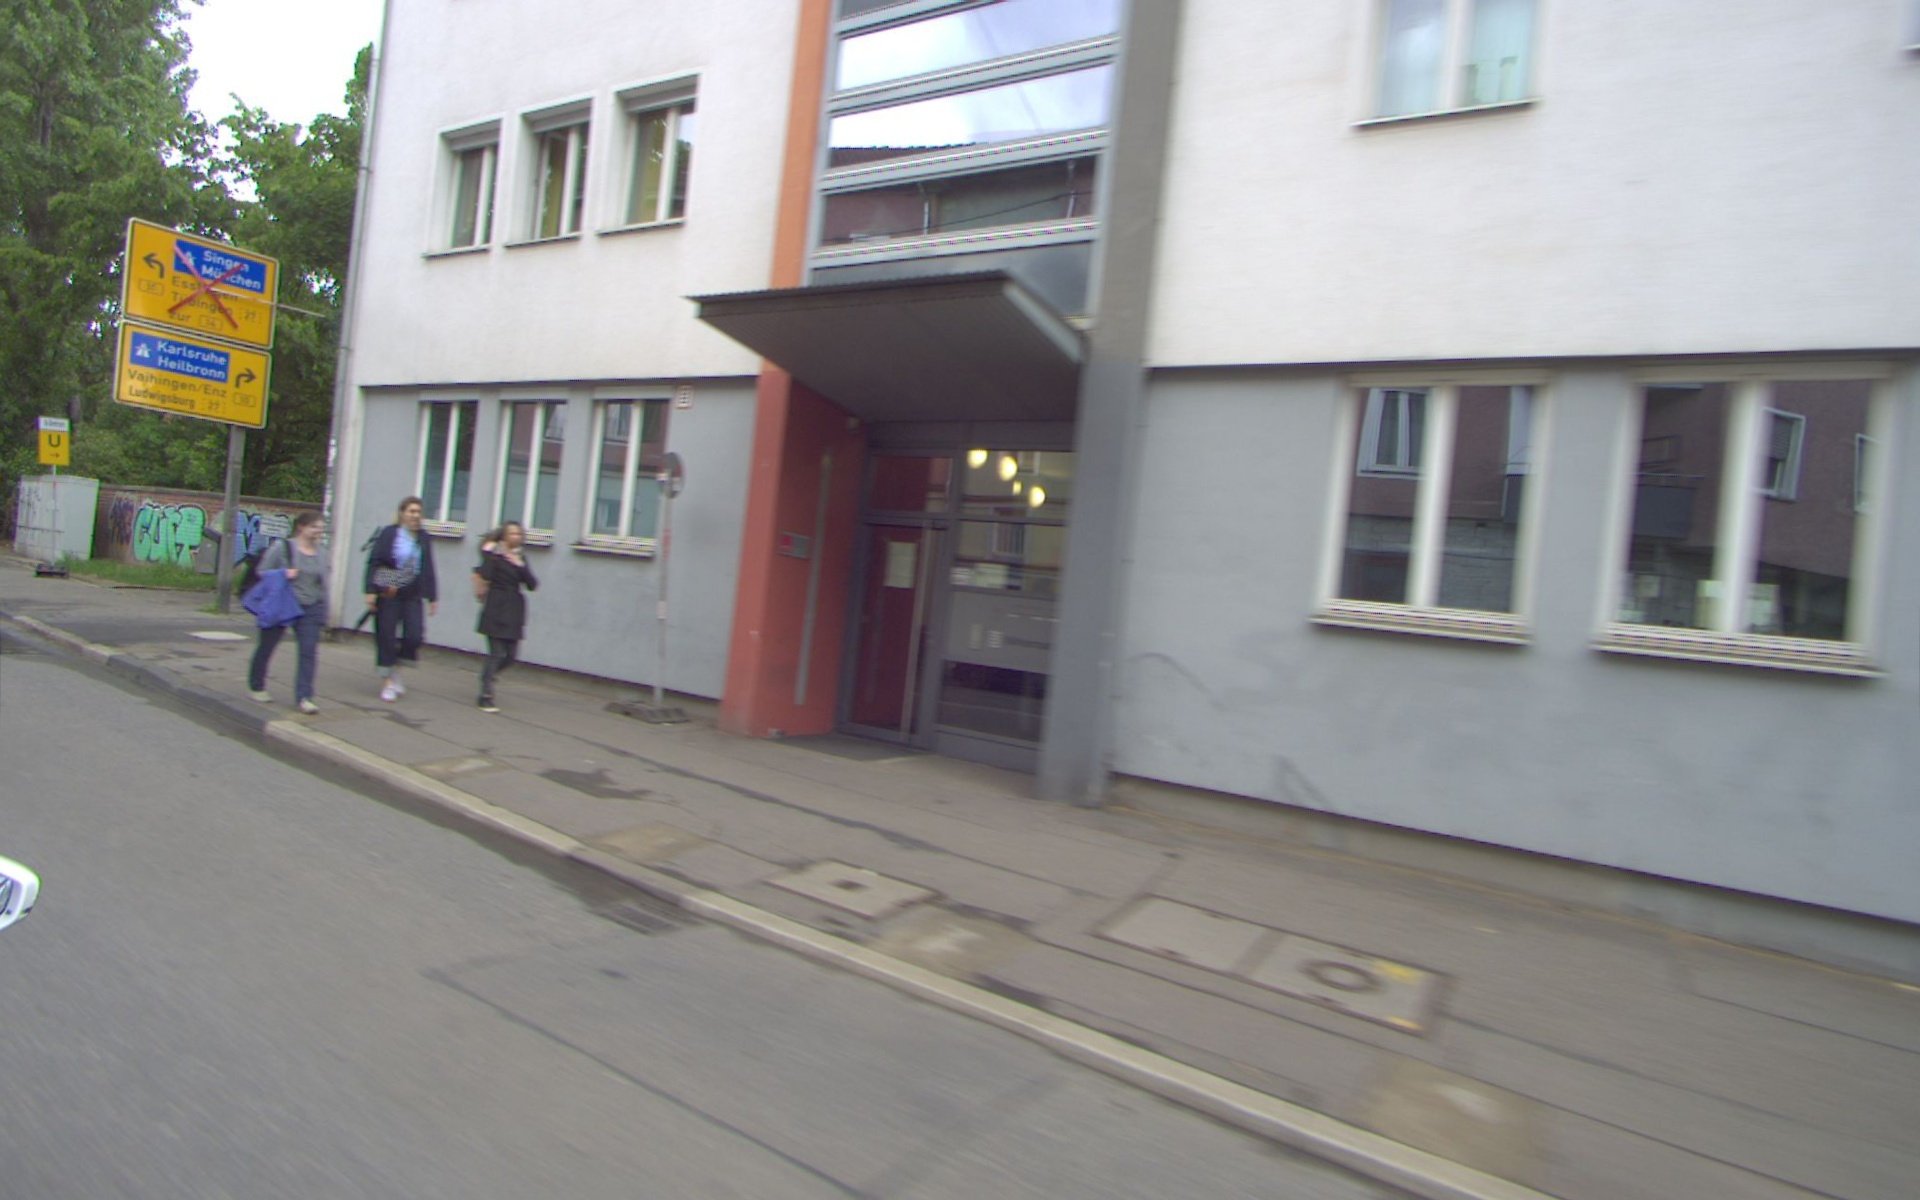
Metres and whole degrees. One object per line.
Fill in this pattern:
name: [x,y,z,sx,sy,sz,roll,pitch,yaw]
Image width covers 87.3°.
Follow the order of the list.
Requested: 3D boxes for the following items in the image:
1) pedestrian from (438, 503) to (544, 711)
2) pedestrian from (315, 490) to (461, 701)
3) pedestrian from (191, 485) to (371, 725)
pedestrian: [-4.215,0.064,9.035,0.600,1.780,0.541,8,3,43]
pedestrian: [-5.207,-0.041,9.164,0.863,1.780,0.687,8,2,30]
pedestrian: [-5.634,0.031,8.352,0.926,1.817,0.803,8,2,30]
